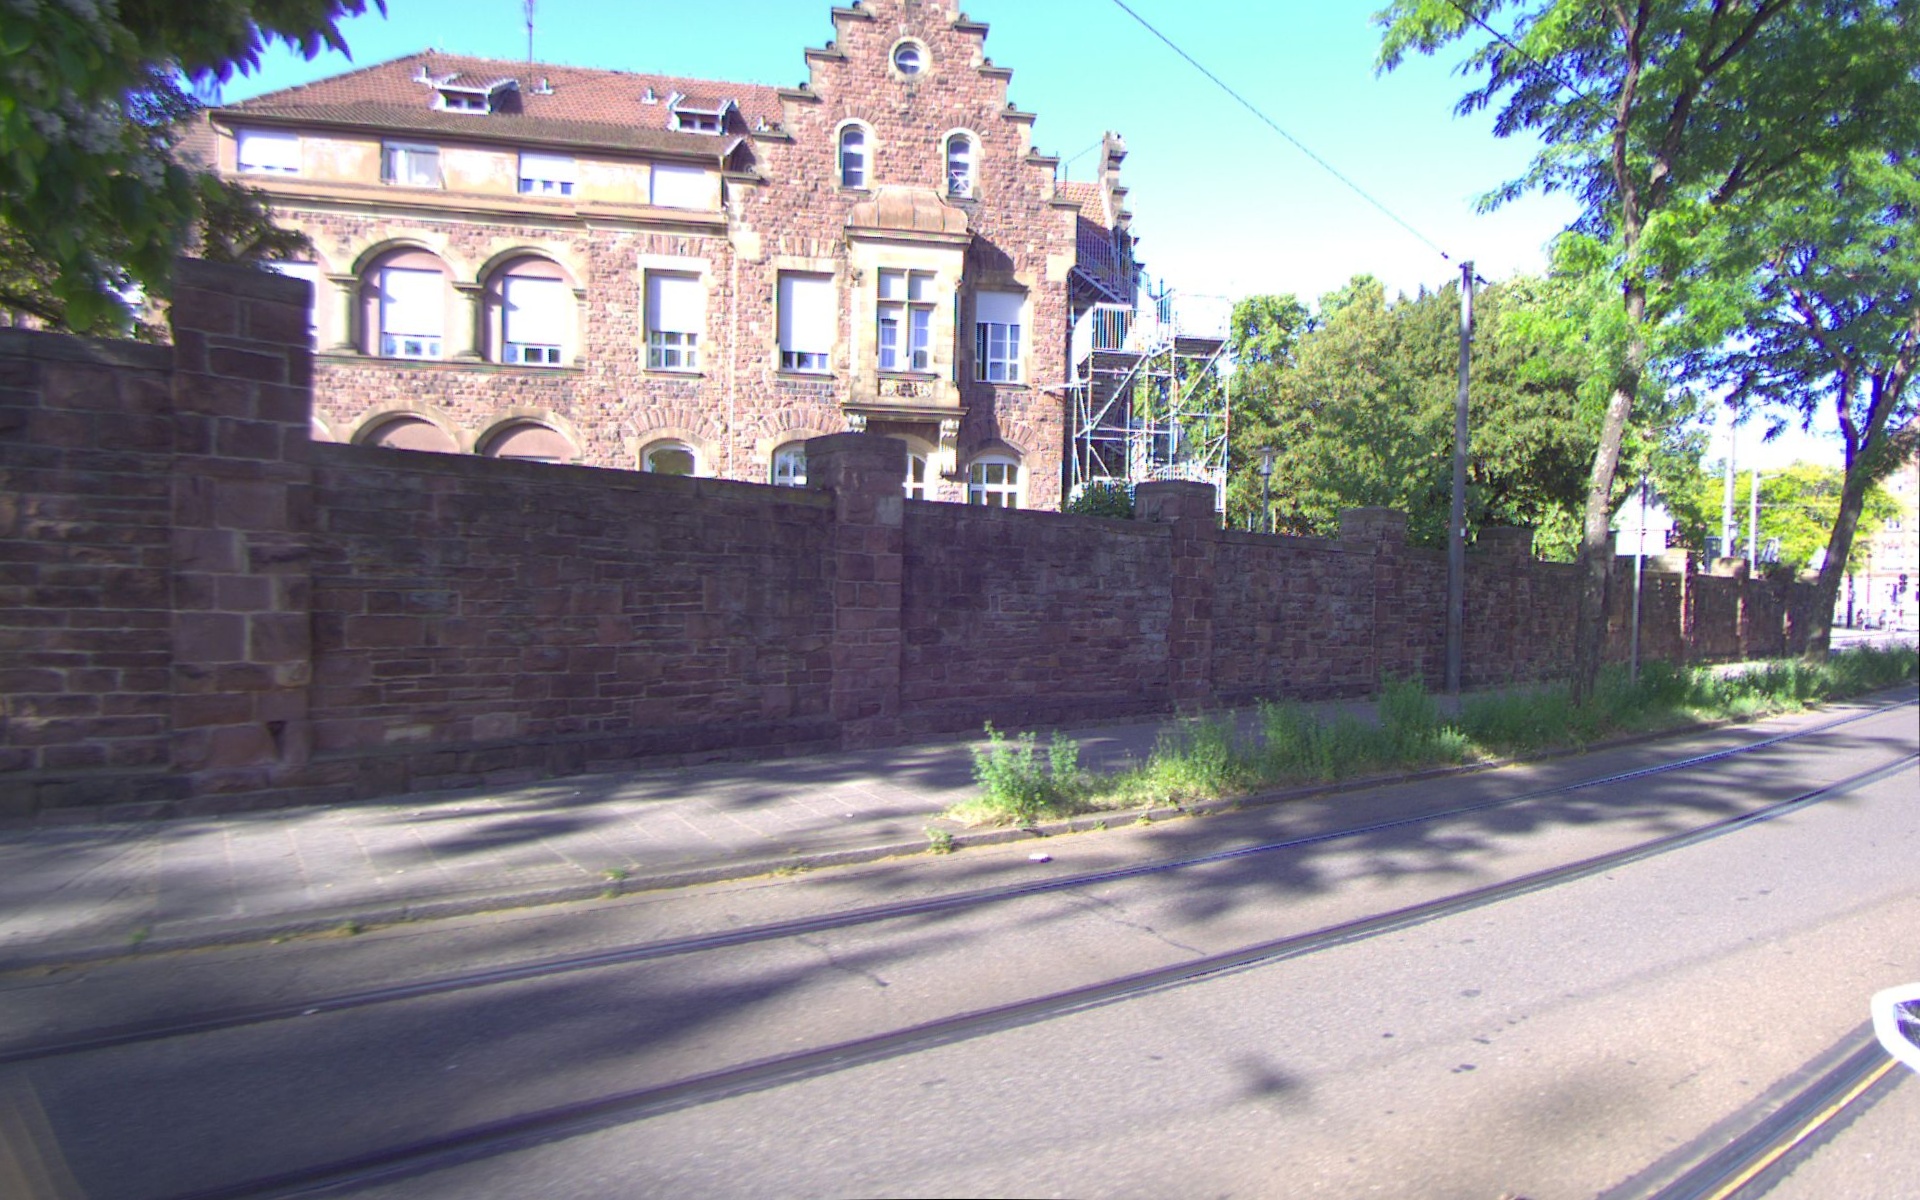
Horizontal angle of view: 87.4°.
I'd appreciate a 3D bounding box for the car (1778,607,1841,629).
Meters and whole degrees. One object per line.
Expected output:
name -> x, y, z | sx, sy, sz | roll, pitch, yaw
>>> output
car -> 75.291, 1.578, 89.045 | 1.985, 1.814, 3.951 | 1, 1, -41
